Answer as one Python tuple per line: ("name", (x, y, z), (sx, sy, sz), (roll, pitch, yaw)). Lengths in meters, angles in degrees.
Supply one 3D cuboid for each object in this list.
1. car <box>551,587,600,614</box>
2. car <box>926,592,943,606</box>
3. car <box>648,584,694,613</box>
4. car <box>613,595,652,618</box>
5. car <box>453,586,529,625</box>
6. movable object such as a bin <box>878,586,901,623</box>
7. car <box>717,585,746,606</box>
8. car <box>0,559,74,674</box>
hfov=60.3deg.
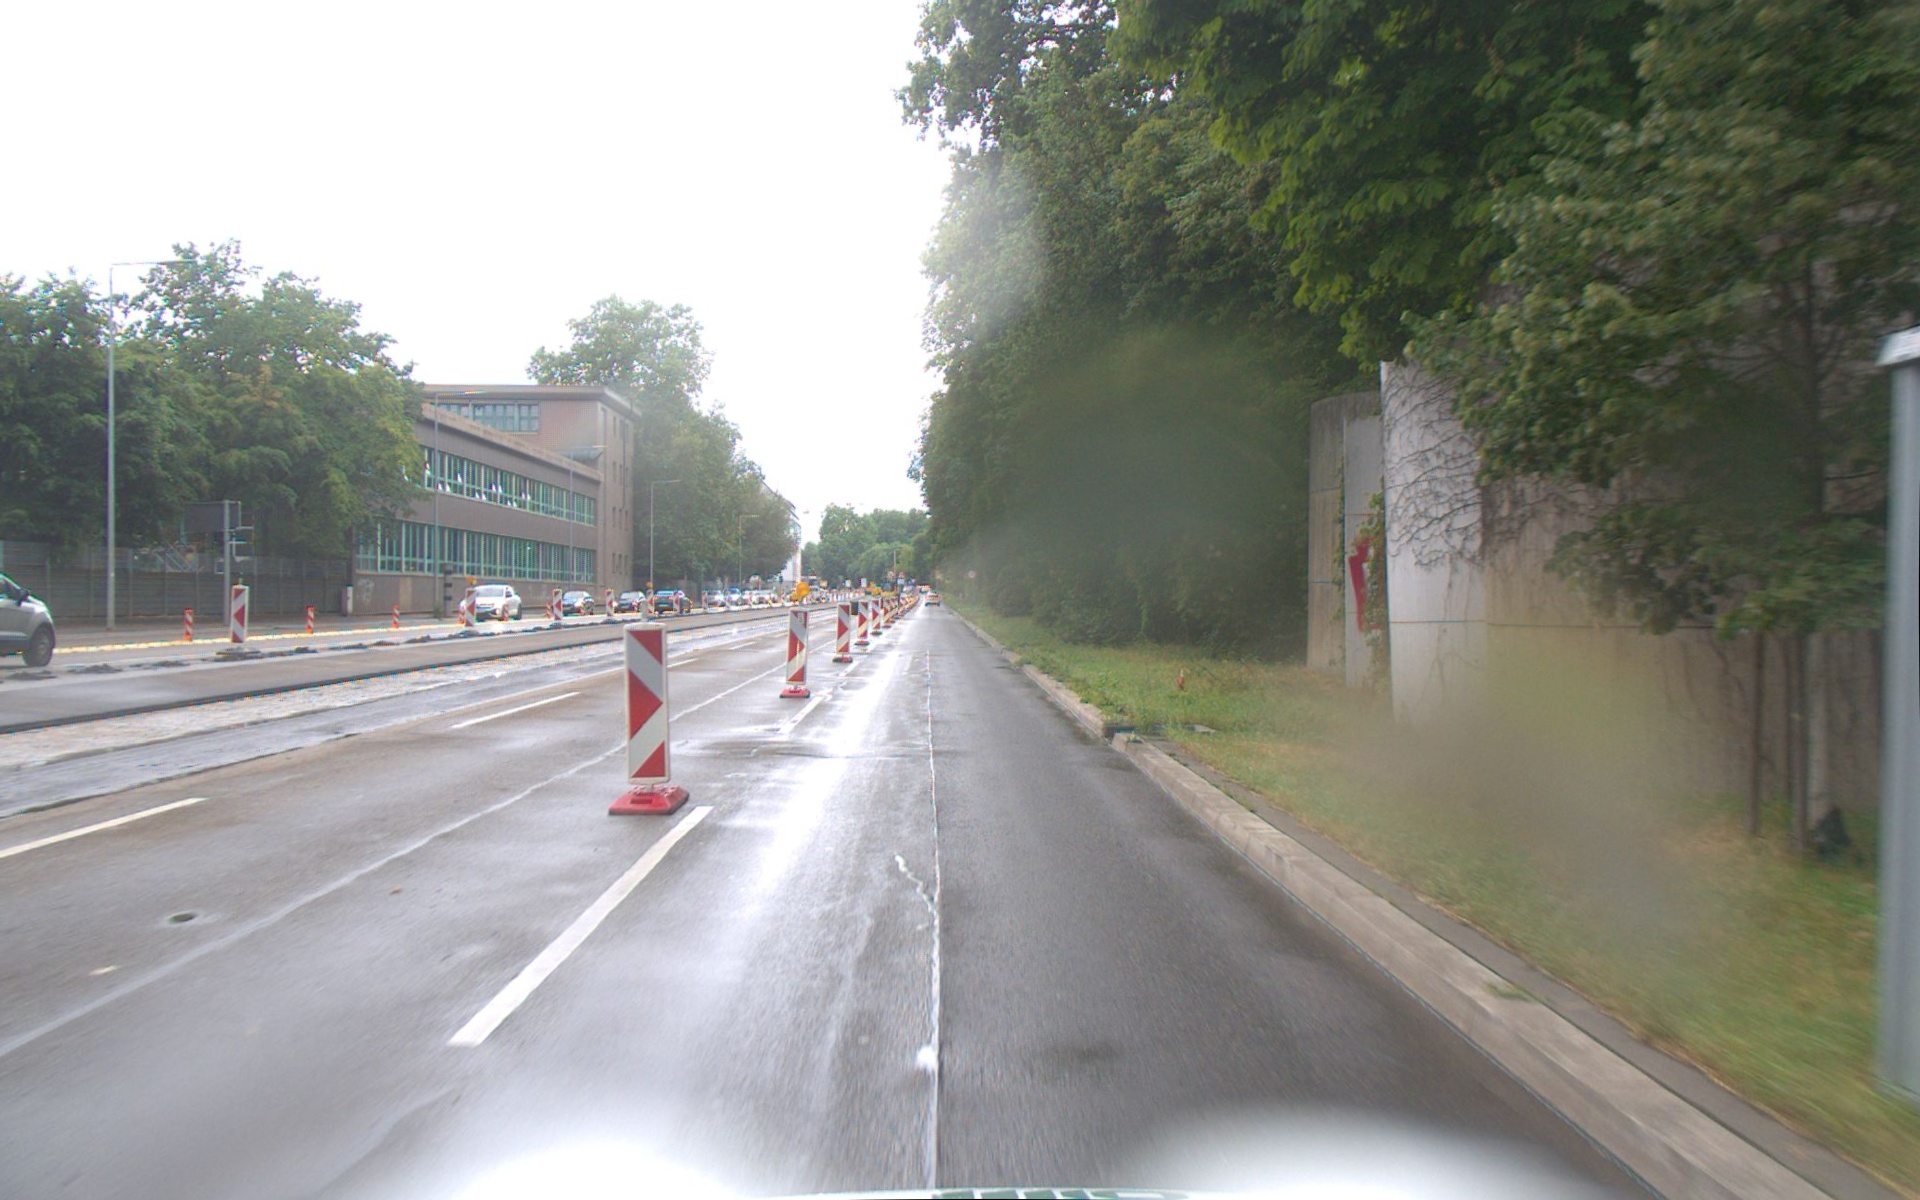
("car", (-22.153, 0.021, 95.484), (1.953, 1.454, 4.263), (1, 0, -2))
("car", (-3.046, -0.093, 198.713), (1.953, 1.702, 3.999), (1, 0, -1))
("car", (-16.218, -0.054, 93.015), (1.953, 1.545, 3.999), (1, 0, -1))
("car", (-22.130, 0.408, 111.914), (2.006, 1.480, 4.761), (1, 0, -4))
("car", (-19.316, 0.216, 68.325), (1.953, 1.539, 4.265), (1, 0, -1))
("movable object such as a bin", (-6.626, 0.463, 156.794), (1.953, 3.426, 5.981), (1, 0, -1))
("car", (-20.585, -0.410, 149.002), (1.948, 1.799, 4.674), (1, 0, 0))
("car", (-14.830, 0.220, 23.987), (1.817, 1.677, 3.999), (1, 0, -1))
